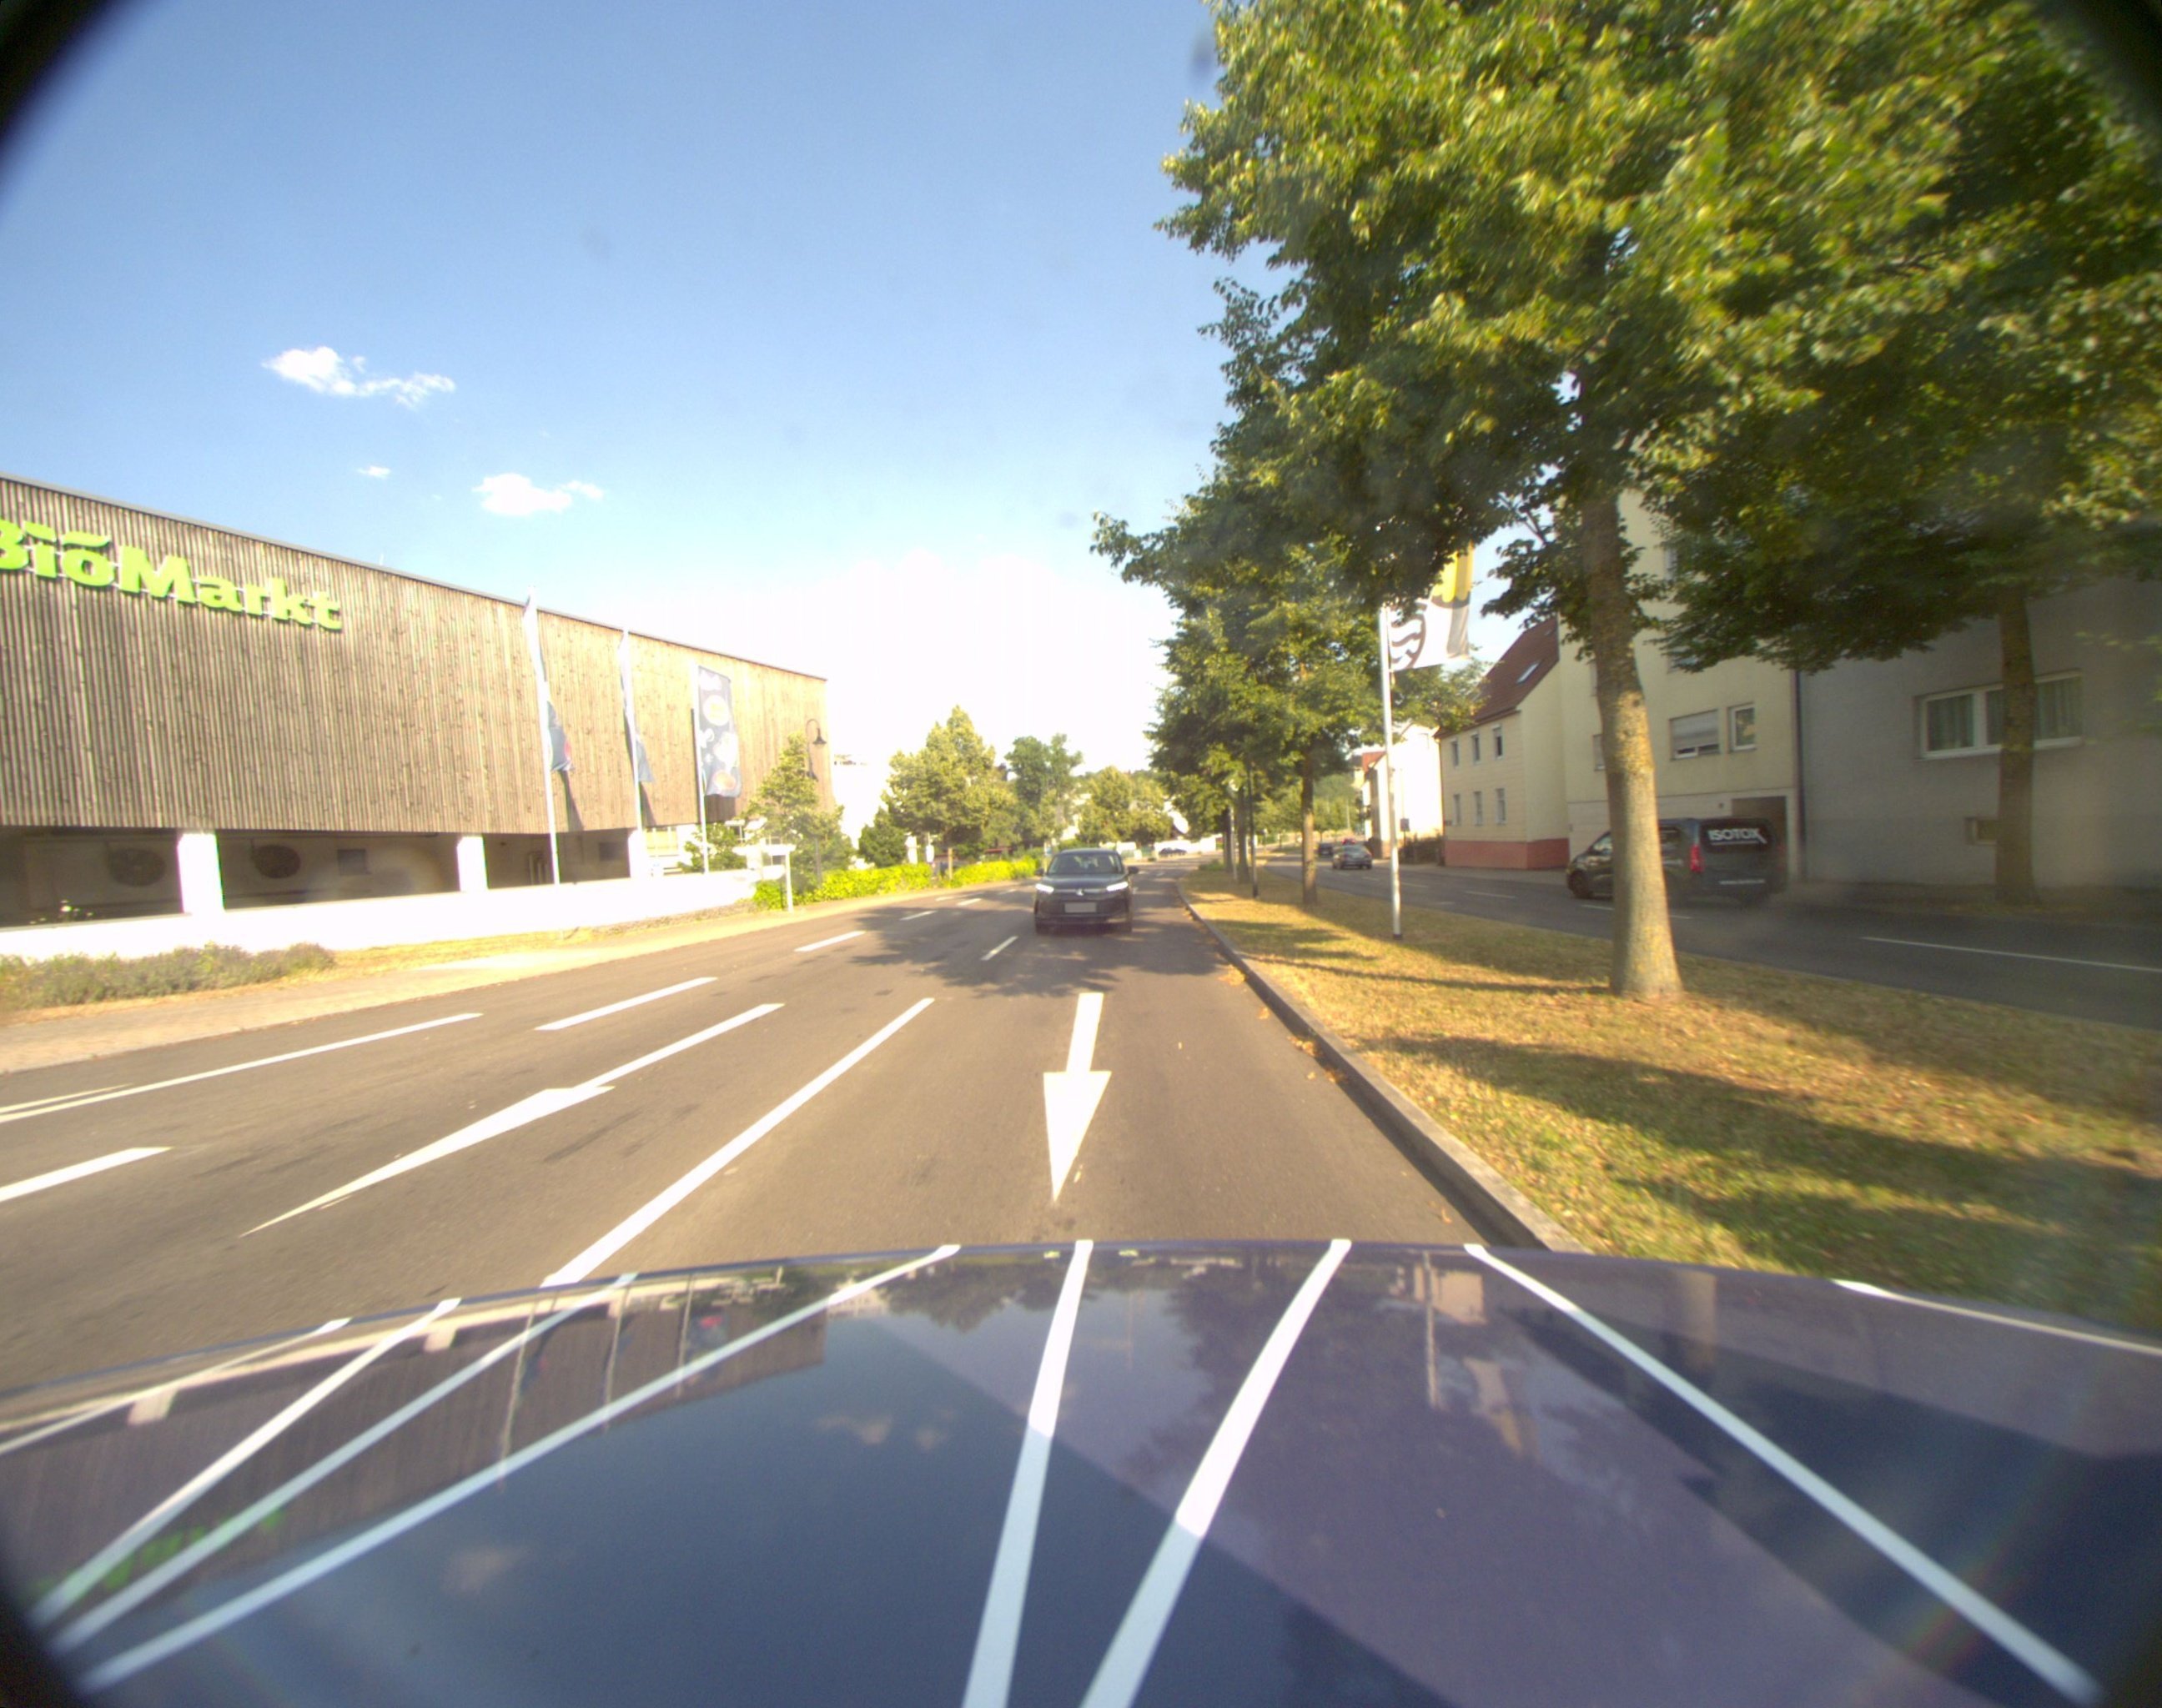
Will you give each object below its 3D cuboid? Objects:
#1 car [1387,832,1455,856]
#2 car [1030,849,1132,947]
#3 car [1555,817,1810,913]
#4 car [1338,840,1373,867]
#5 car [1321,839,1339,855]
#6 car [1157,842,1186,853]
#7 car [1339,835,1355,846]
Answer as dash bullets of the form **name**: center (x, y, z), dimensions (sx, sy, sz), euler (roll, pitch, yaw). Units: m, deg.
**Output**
- **car**: center (24.727, -0.707, 55.201), dimensions (4.350, 1.477, 2.014), euler (-3, 1, 27)
- **car**: center (0.141, 0.755, 15.406), dimensions (1.725, 1.605, 4.261), euler (-2, 1, 4)
- **car**: center (12.700, 0.170, 16.562), dimensions (1.856, 1.726, 4.923), euler (-2, 1, 3)
- **car**: center (16.830, -0.057, 46.816), dimensions (1.854, 1.477, 5.002), euler (-2, 1, 18)
- **car**: center (25.326, -0.722, 77.347), dimensions (1.607, 1.477, 3.788), euler (-2, 1, 18)
- **car**: center (13.167, -0.955, 110.572), dimensions (3.829, 1.412, 1.941), euler (-3, 1, 23)
- **car**: center (38.007, -1.897, 108.423), dimensions (1.942, 1.477, 4.330), euler (-2, 1, 22)
